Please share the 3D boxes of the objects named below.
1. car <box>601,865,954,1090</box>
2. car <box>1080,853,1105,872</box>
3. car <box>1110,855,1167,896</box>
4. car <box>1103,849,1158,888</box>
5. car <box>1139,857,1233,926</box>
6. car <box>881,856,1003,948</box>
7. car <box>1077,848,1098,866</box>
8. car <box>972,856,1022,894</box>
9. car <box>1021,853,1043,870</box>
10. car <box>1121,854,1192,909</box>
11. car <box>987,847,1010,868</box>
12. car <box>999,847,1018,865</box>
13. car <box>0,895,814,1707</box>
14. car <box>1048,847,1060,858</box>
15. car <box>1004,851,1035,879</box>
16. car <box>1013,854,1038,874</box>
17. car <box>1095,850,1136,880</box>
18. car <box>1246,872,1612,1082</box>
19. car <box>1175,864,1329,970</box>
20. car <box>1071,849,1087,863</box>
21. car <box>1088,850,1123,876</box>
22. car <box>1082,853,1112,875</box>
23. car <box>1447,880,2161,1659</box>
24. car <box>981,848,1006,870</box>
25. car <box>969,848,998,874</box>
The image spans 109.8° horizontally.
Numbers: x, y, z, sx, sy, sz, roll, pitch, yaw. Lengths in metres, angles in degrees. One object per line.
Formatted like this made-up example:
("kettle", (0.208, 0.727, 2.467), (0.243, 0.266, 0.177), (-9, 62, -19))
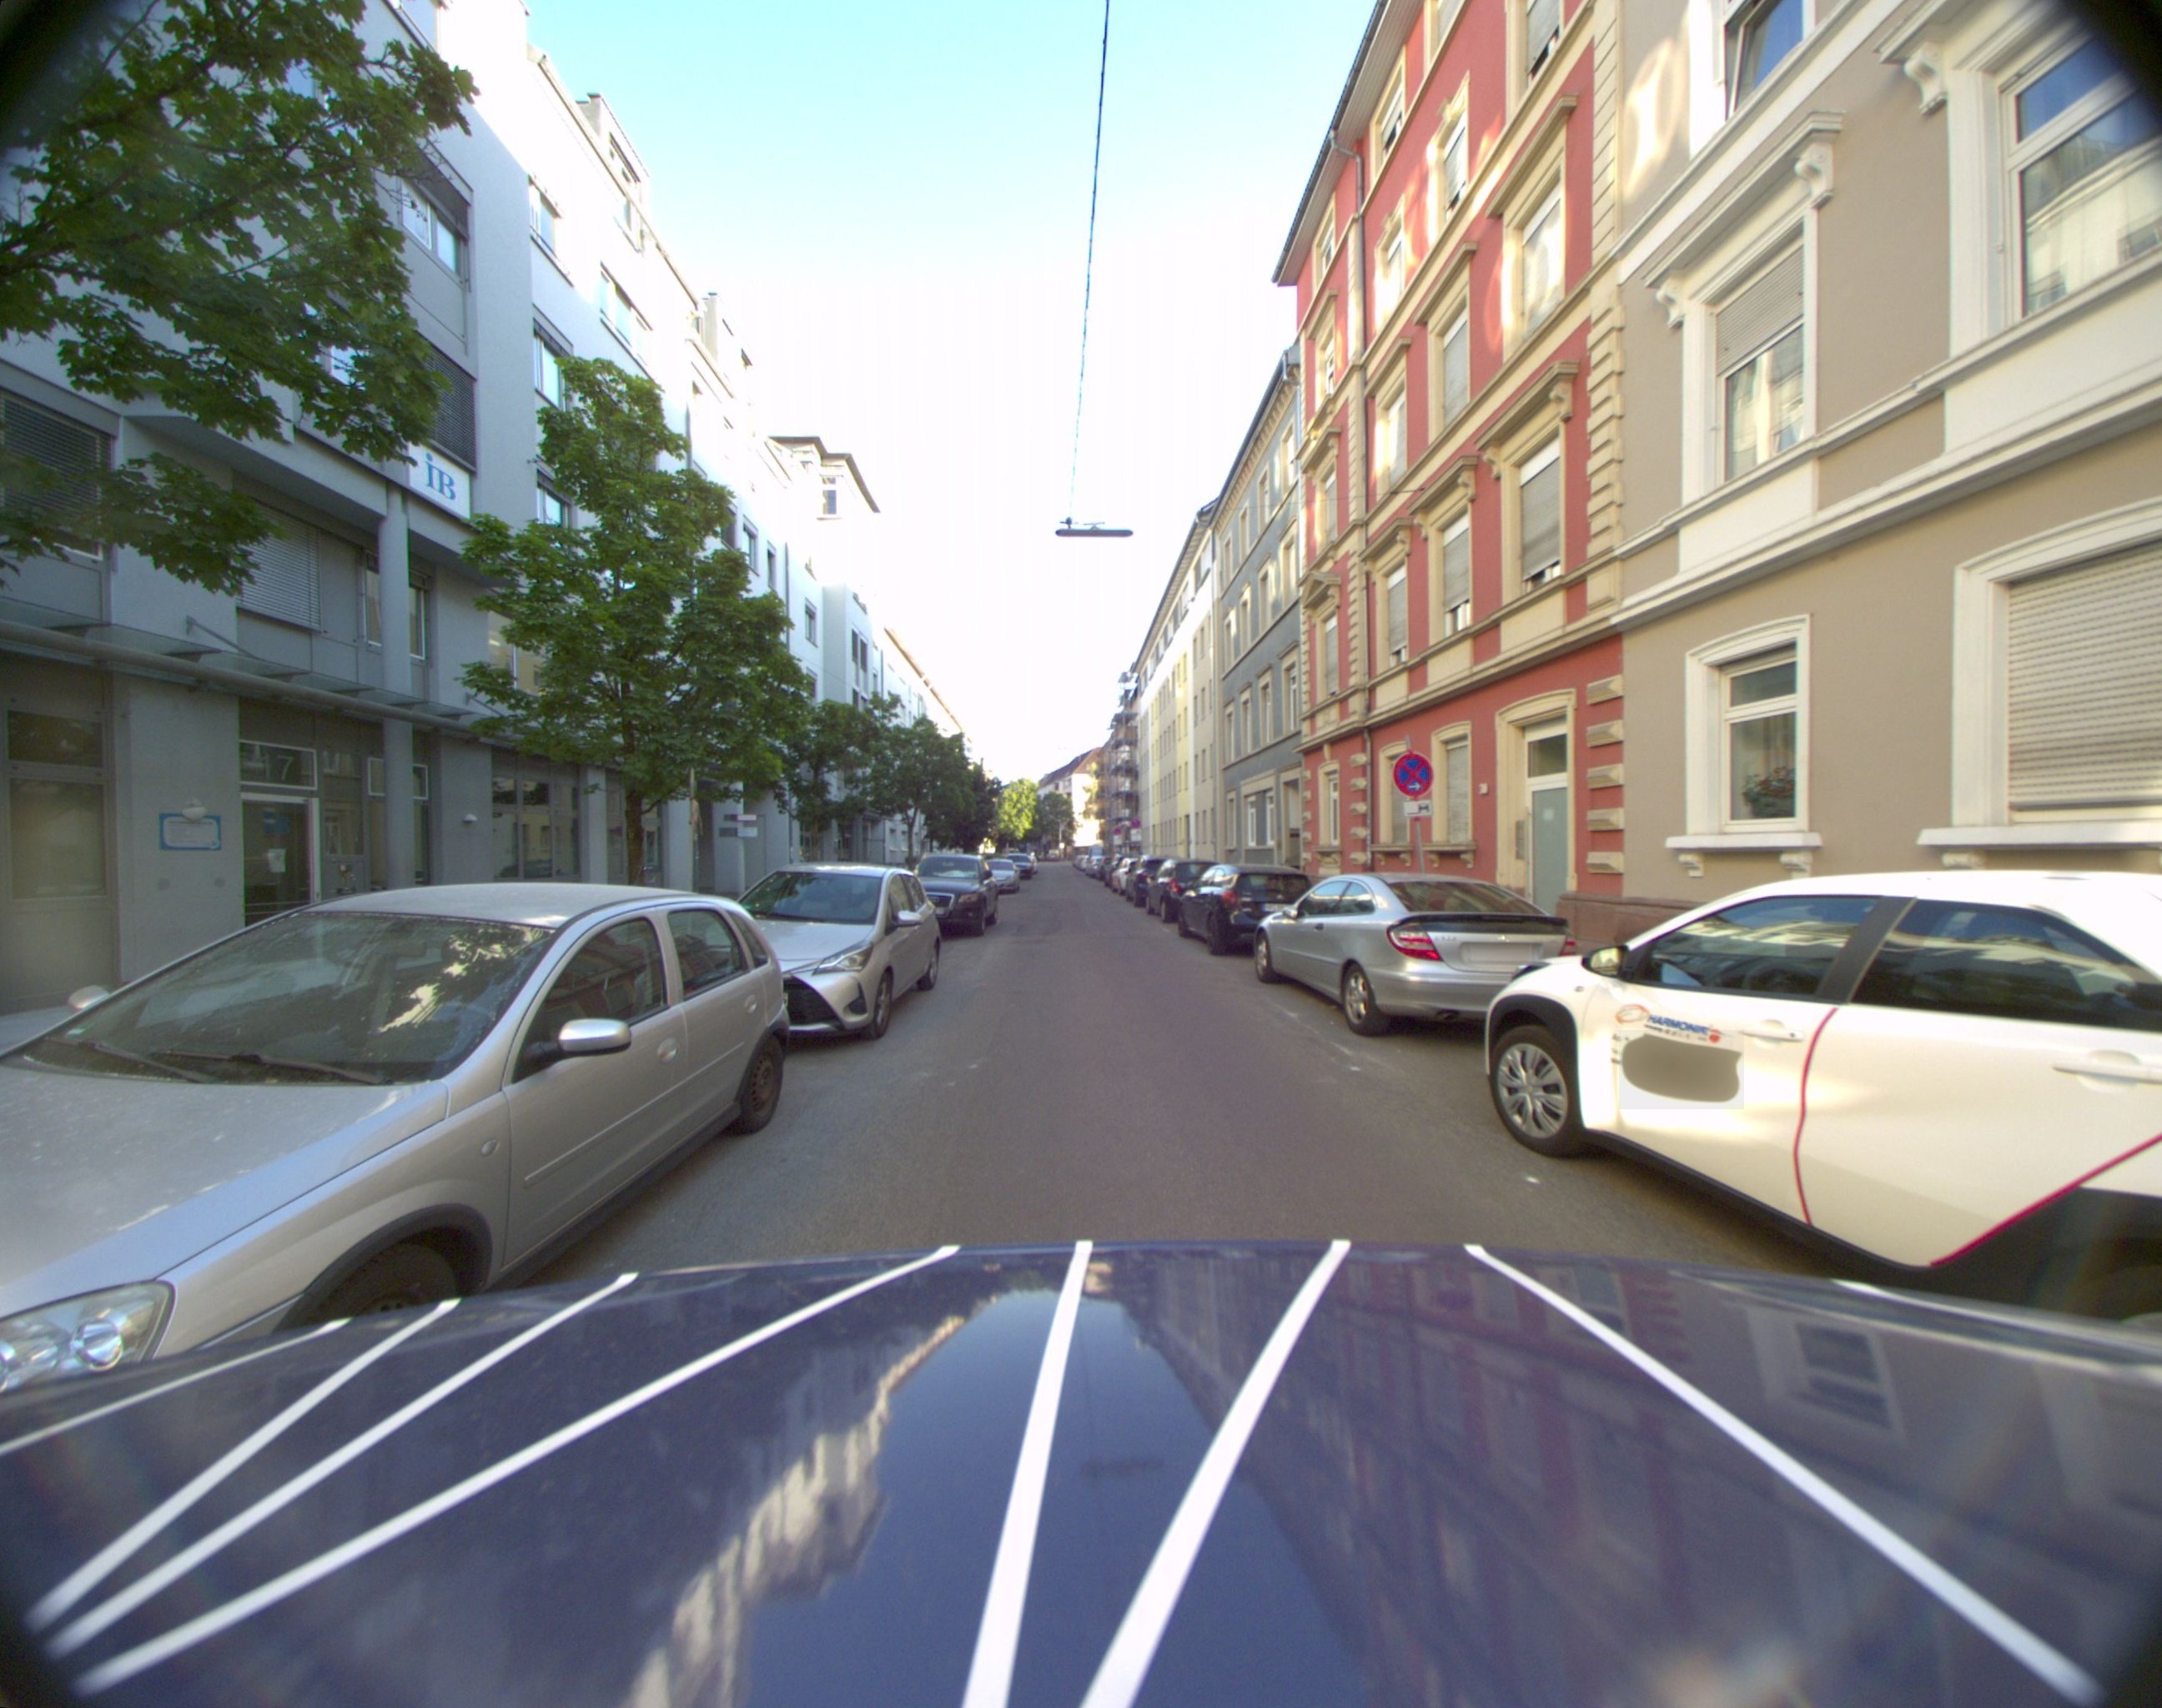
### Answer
("car", (-2.637, 0.971, 7.755), (1.913, 1.576, 4.000), (-1, 0, 1))
("car", (1.030, 0.750, 70.046), (1.999, 1.576, 4.492), (-2, 1, -3))
("car", (2.201, 0.795, 30.163), (1.662, 1.420, 4.351), (-2, 1, -4))
("car", (2.208, 0.606, 35.279), (1.999, 1.640, 4.492), (-2, 1, -3))
("car", (2.527, 0.845, 19.224), (1.537, 1.490, 4.194), (1, 1, -3))
("car", (-2.874, 0.922, 16.666), (1.863, 1.679, 4.389), (-1, 0, 0))
("car", (0.671, 0.324, 80.284), (1.999, 1.783, 3.999), (-1, 0, -2))
("car", (-3.564, 0.844, 32.899), (1.856, 1.480, 3.998), (-1, 0, -3))
("car", (-4.457, 0.671, 69.584), (1.856, 1.480, 3.998), (-1, 0, -3))
("car", (2.308, 0.797, 24.229), (1.598, 1.513, 4.428), (-2, 1, -3))
("car", (-8.242, 0.339, 75.911), (1.999, 2.002, 3.998), (-1, 0, -3))
("car", (-8.398, 0.201, 88.634), (1.999, 2.002, 3.998), (-1, 0, -3))
("car", (-2.667, 1.032, 3.110), (1.638, 1.439, 4.066), (-1, 0, 1))
("car", (-4.719, -0.279, 132.577), (1.999, 1.783, 3.999), (-1, 0, -2))
("car", (-3.969, 0.679, 49.375), (1.856, 1.649, 3.998), (-1, 0, -4))
("car", (-4.443, 0.759, 61.827), (1.903, 1.510, 4.222), (-1, 0, -3))
("car", (1.987, 0.612, 45.198), (1.999, 1.576, 4.492), (-2, 1, -3))
("car", (3.057, 0.982, 7.683), (1.614, 1.420, 3.960), (2, 1, -4))
("car", (2.749, 0.955, 13.100), (1.589, 1.407, 3.911), (3, 0, -2))
("car", (-0.343, 0.243, 102.577), (1.999, 1.783, 3.999), (-1, 0, -2))
("car", (1.566, 0.573, 49.885), (1.999, 1.566, 4.148), (-1, 0, -2))
("car", (1.123, 0.708, 55.164), (1.999, 1.437, 3.999), (-1, 0, -2))
("car", (3.122, 0.958, 2.720), (1.688, 1.487, 3.843), (3, 1, 0))
("car", (-8.172, 0.435, 71.422), (1.999, 2.002, 3.998), (-1, 0, -3))
("car", (-7.891, 0.531, 61.927), (1.999, 2.002, 3.998), (-1, 0, -3))
